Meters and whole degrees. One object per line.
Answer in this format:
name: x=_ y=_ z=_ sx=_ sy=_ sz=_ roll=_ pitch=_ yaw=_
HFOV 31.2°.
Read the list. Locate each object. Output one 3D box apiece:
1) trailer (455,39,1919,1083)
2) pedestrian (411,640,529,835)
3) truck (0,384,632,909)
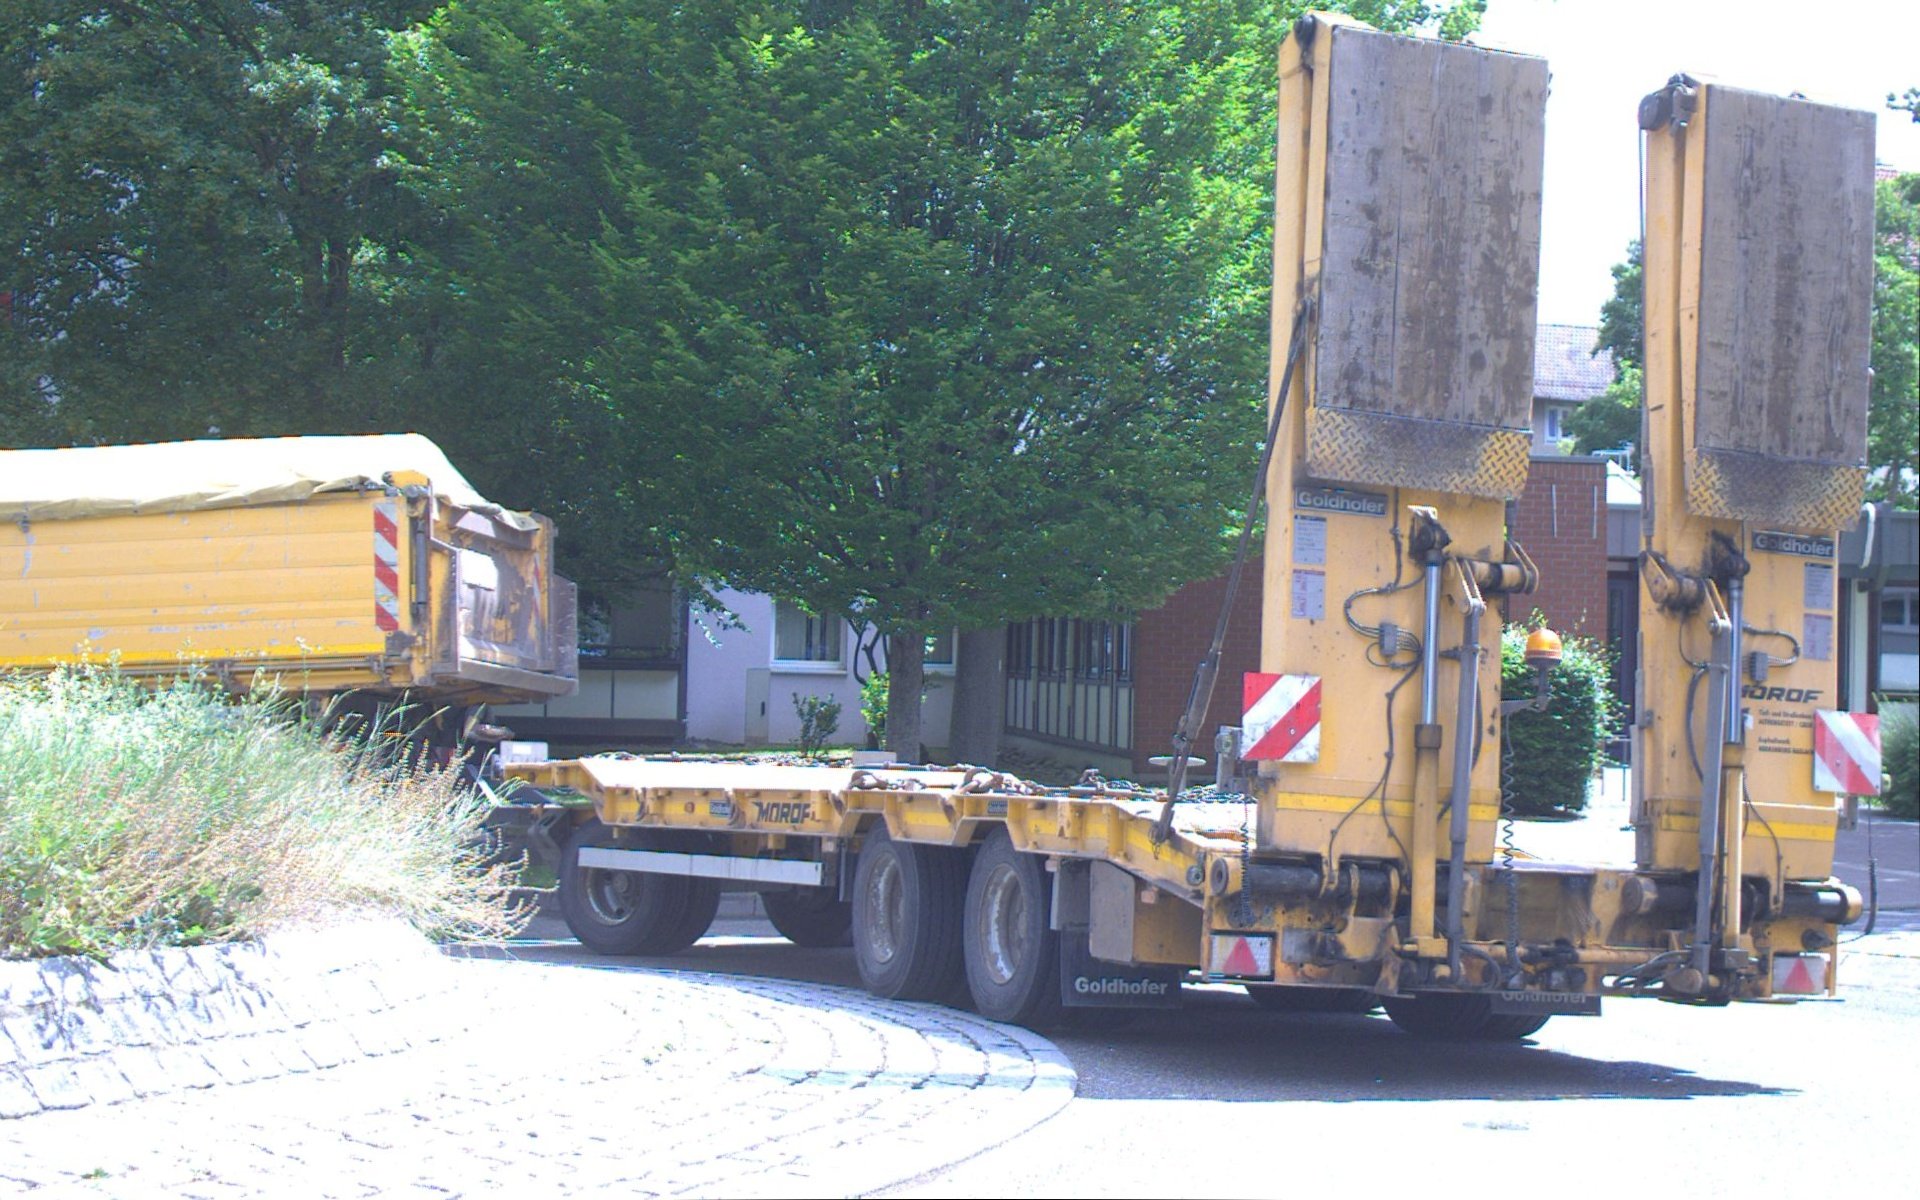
trailer: x=0.241 y=-0.050 z=16.629 sx=2.863 sy=3.361 sz=10.843 roll=3 pitch=-1 yaw=-21
pedestrian: x=-4.099 y=1.137 z=28.720 sx=0.838 sy=1.574 sz=0.721 roll=-2 pitch=-1 yaw=-16
truck: x=-6.635 y=0.231 z=22.135 sx=8.462 sy=3.024 sz=2.996 roll=1 pitch=-1 yaw=12
